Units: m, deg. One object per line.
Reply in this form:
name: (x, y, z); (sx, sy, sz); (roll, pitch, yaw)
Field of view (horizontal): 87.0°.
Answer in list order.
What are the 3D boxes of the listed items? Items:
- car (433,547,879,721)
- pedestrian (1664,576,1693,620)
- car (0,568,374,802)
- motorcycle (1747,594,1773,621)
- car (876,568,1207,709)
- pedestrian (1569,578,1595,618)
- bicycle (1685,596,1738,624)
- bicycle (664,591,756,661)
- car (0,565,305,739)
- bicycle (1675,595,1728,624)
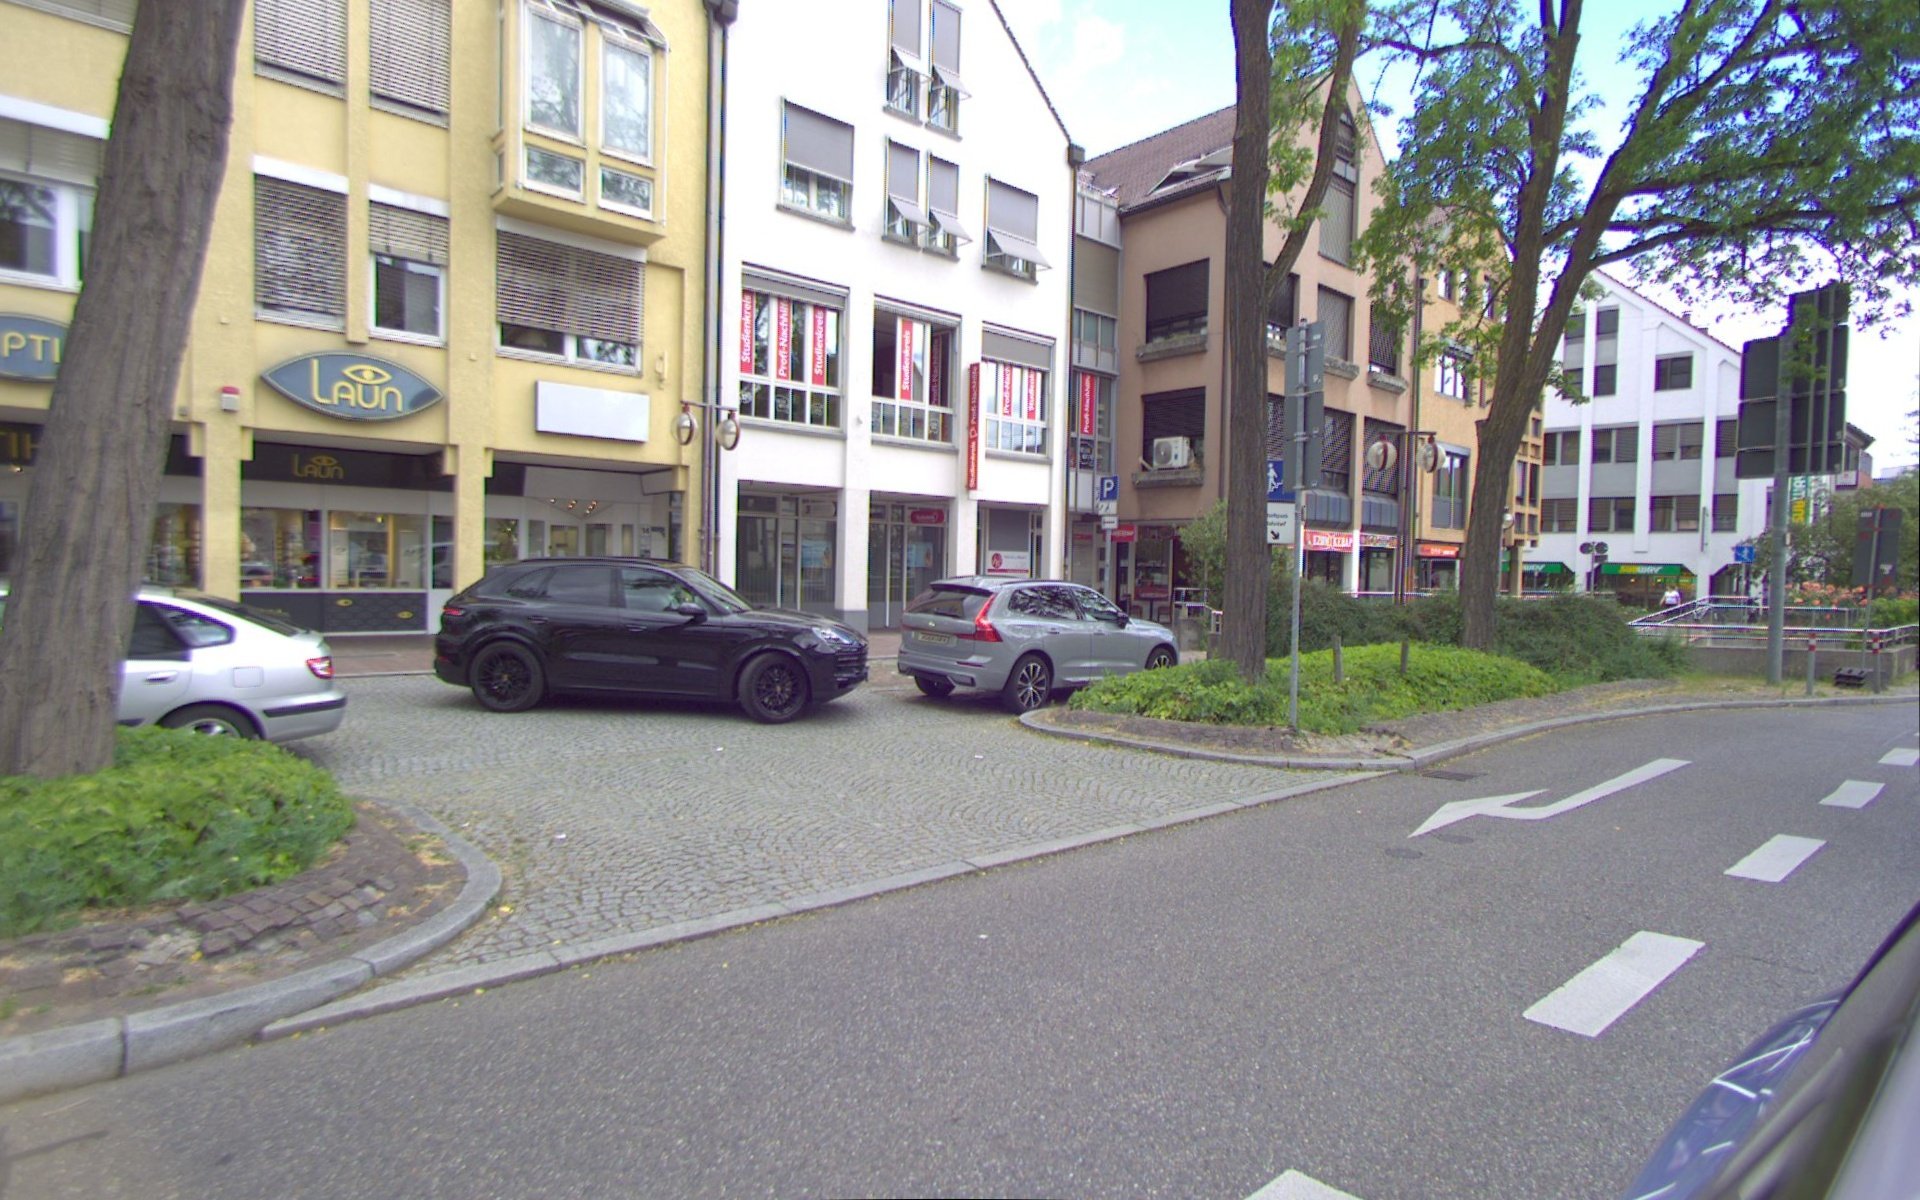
car: (-3.281, 0.327, 11.640); (4.573, 1.690, 1.860); (2, 2, -2)
pedestrian: (30.468, -0.100, 42.915); (0.772, 1.846, 0.869); (0, 0, -44)
car: (-6.752, 0.522, 7.057); (4.344, 1.468, 1.765); (0, 2, -43)
motorcycle: (32.812, 0.288, 41.521); (1.961, 1.081, 0.464); (0, 1, -41)
car: (1.288, 0.413, 14.128); (4.685, 1.615, 1.996); (0, 2, -44)
pedestrian: (28.372, -0.109, 46.146); (0.882, 1.779, 0.931); (2, 1, 38)
bicycle: (28.552, 0.373, 38.483); (1.584, 0.981, 0.455); (2, 1, 36)
bicycle: (-3.927, 0.391, 15.947); (1.355, 1.057, 0.393); (0, 2, -41)
car: (-8.690, 0.412, 9.197); (4.344, 1.393, 2.000); (0, 3, -43)
bicycle: (27.920, 0.349, 38.127); (1.584, 1.014, 0.409); (2, 1, 37)
